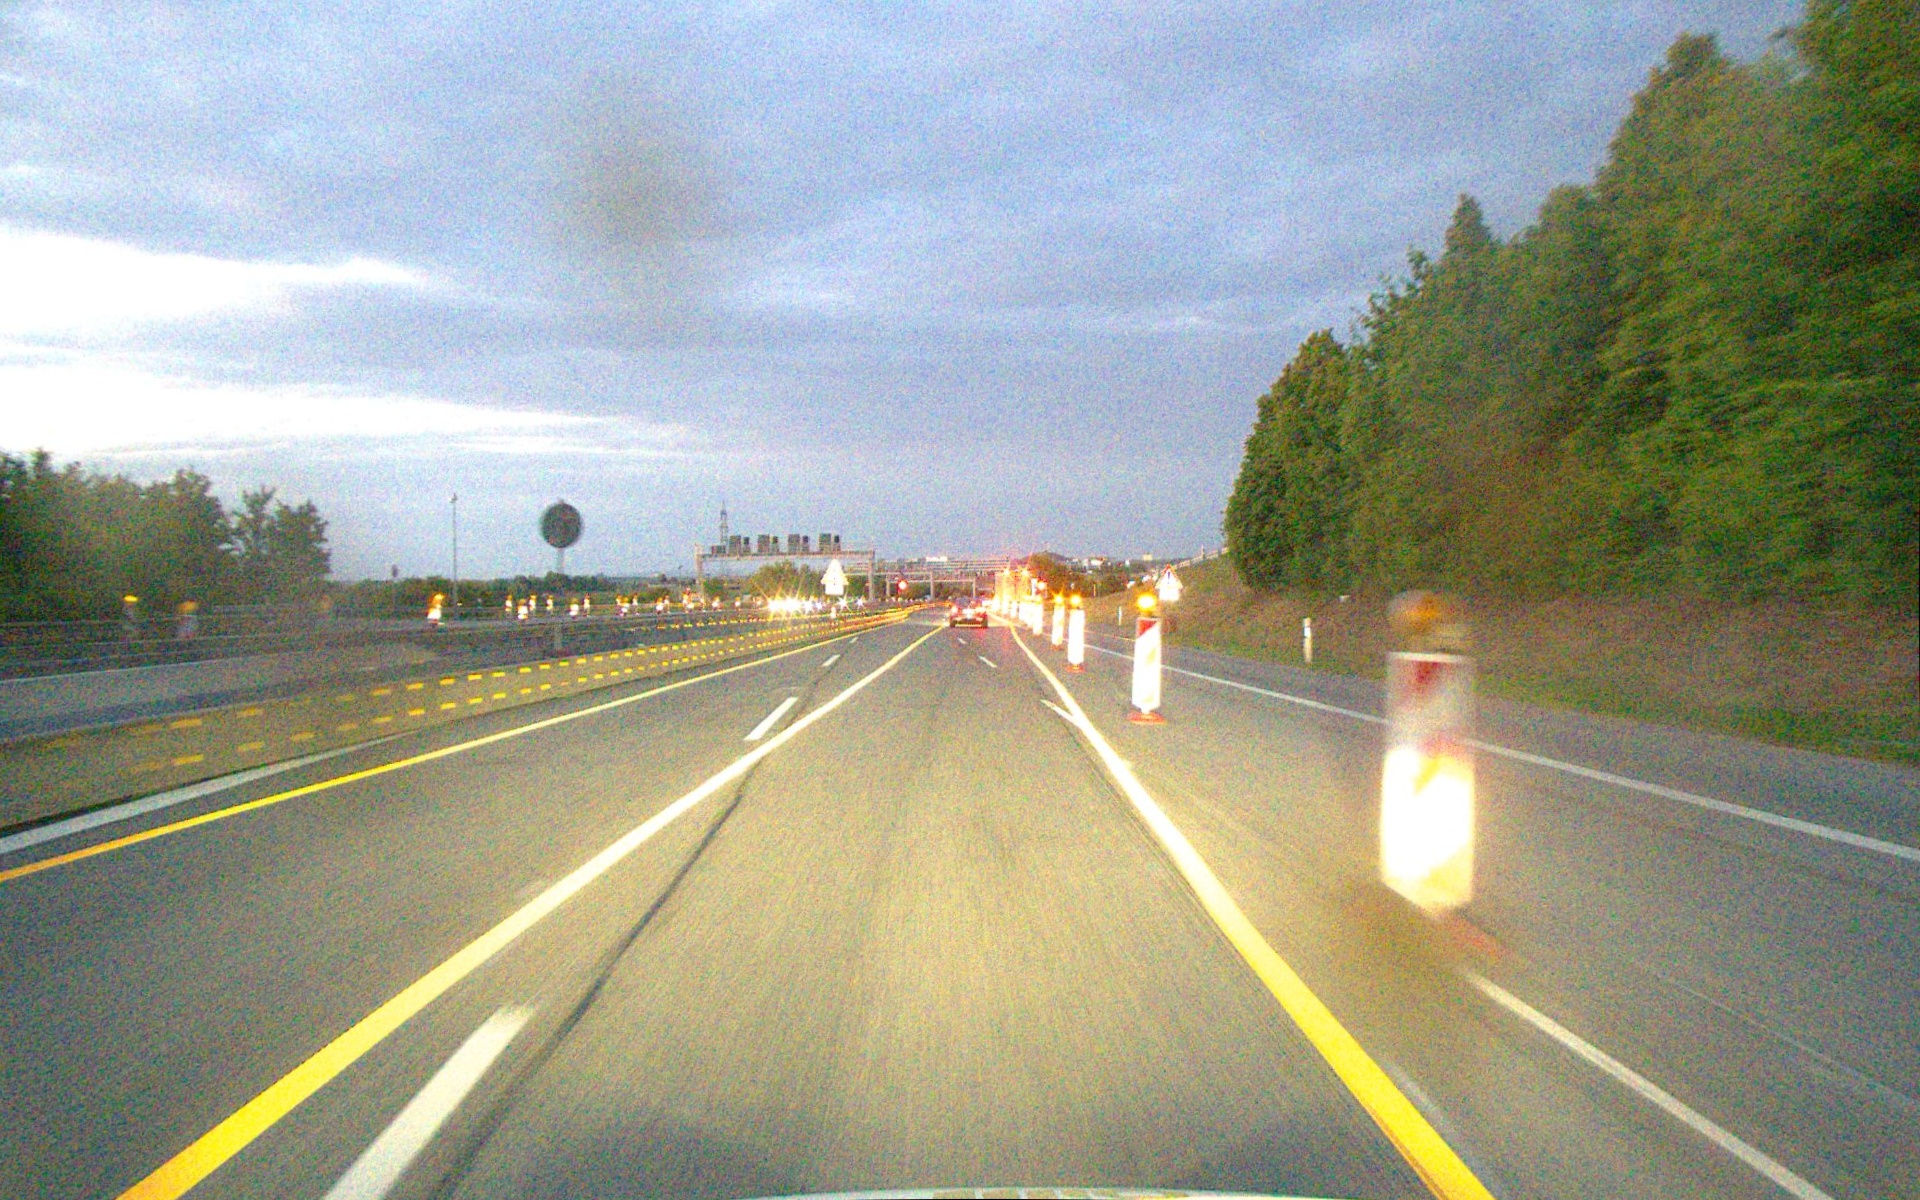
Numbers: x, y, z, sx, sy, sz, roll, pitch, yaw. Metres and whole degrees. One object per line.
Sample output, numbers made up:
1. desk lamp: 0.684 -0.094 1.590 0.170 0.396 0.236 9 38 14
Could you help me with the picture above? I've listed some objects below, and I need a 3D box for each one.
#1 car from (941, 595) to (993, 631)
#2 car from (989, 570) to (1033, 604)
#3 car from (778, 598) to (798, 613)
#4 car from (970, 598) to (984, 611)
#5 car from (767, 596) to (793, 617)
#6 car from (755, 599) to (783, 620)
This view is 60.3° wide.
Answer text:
1. car: 0.303 0.635 80.892 2.221 1.649 3.996 1 0 -4
2. car: 5.309 -1.387 174.244 3.536 3.455 8.003 0 0 -6
3. car: -19.909 0.635 191.626 1.727 1.575 4.424 1 0 0
4. car: 2.632 0.684 256.313 1.953 2.049 4.000 1 0 0
5. car: -16.710 0.599 153.971 1.953 1.860 4.000 1 0 0
6. car: -16.926 0.854 146.577 1.953 1.744 4.000 1 0 0
